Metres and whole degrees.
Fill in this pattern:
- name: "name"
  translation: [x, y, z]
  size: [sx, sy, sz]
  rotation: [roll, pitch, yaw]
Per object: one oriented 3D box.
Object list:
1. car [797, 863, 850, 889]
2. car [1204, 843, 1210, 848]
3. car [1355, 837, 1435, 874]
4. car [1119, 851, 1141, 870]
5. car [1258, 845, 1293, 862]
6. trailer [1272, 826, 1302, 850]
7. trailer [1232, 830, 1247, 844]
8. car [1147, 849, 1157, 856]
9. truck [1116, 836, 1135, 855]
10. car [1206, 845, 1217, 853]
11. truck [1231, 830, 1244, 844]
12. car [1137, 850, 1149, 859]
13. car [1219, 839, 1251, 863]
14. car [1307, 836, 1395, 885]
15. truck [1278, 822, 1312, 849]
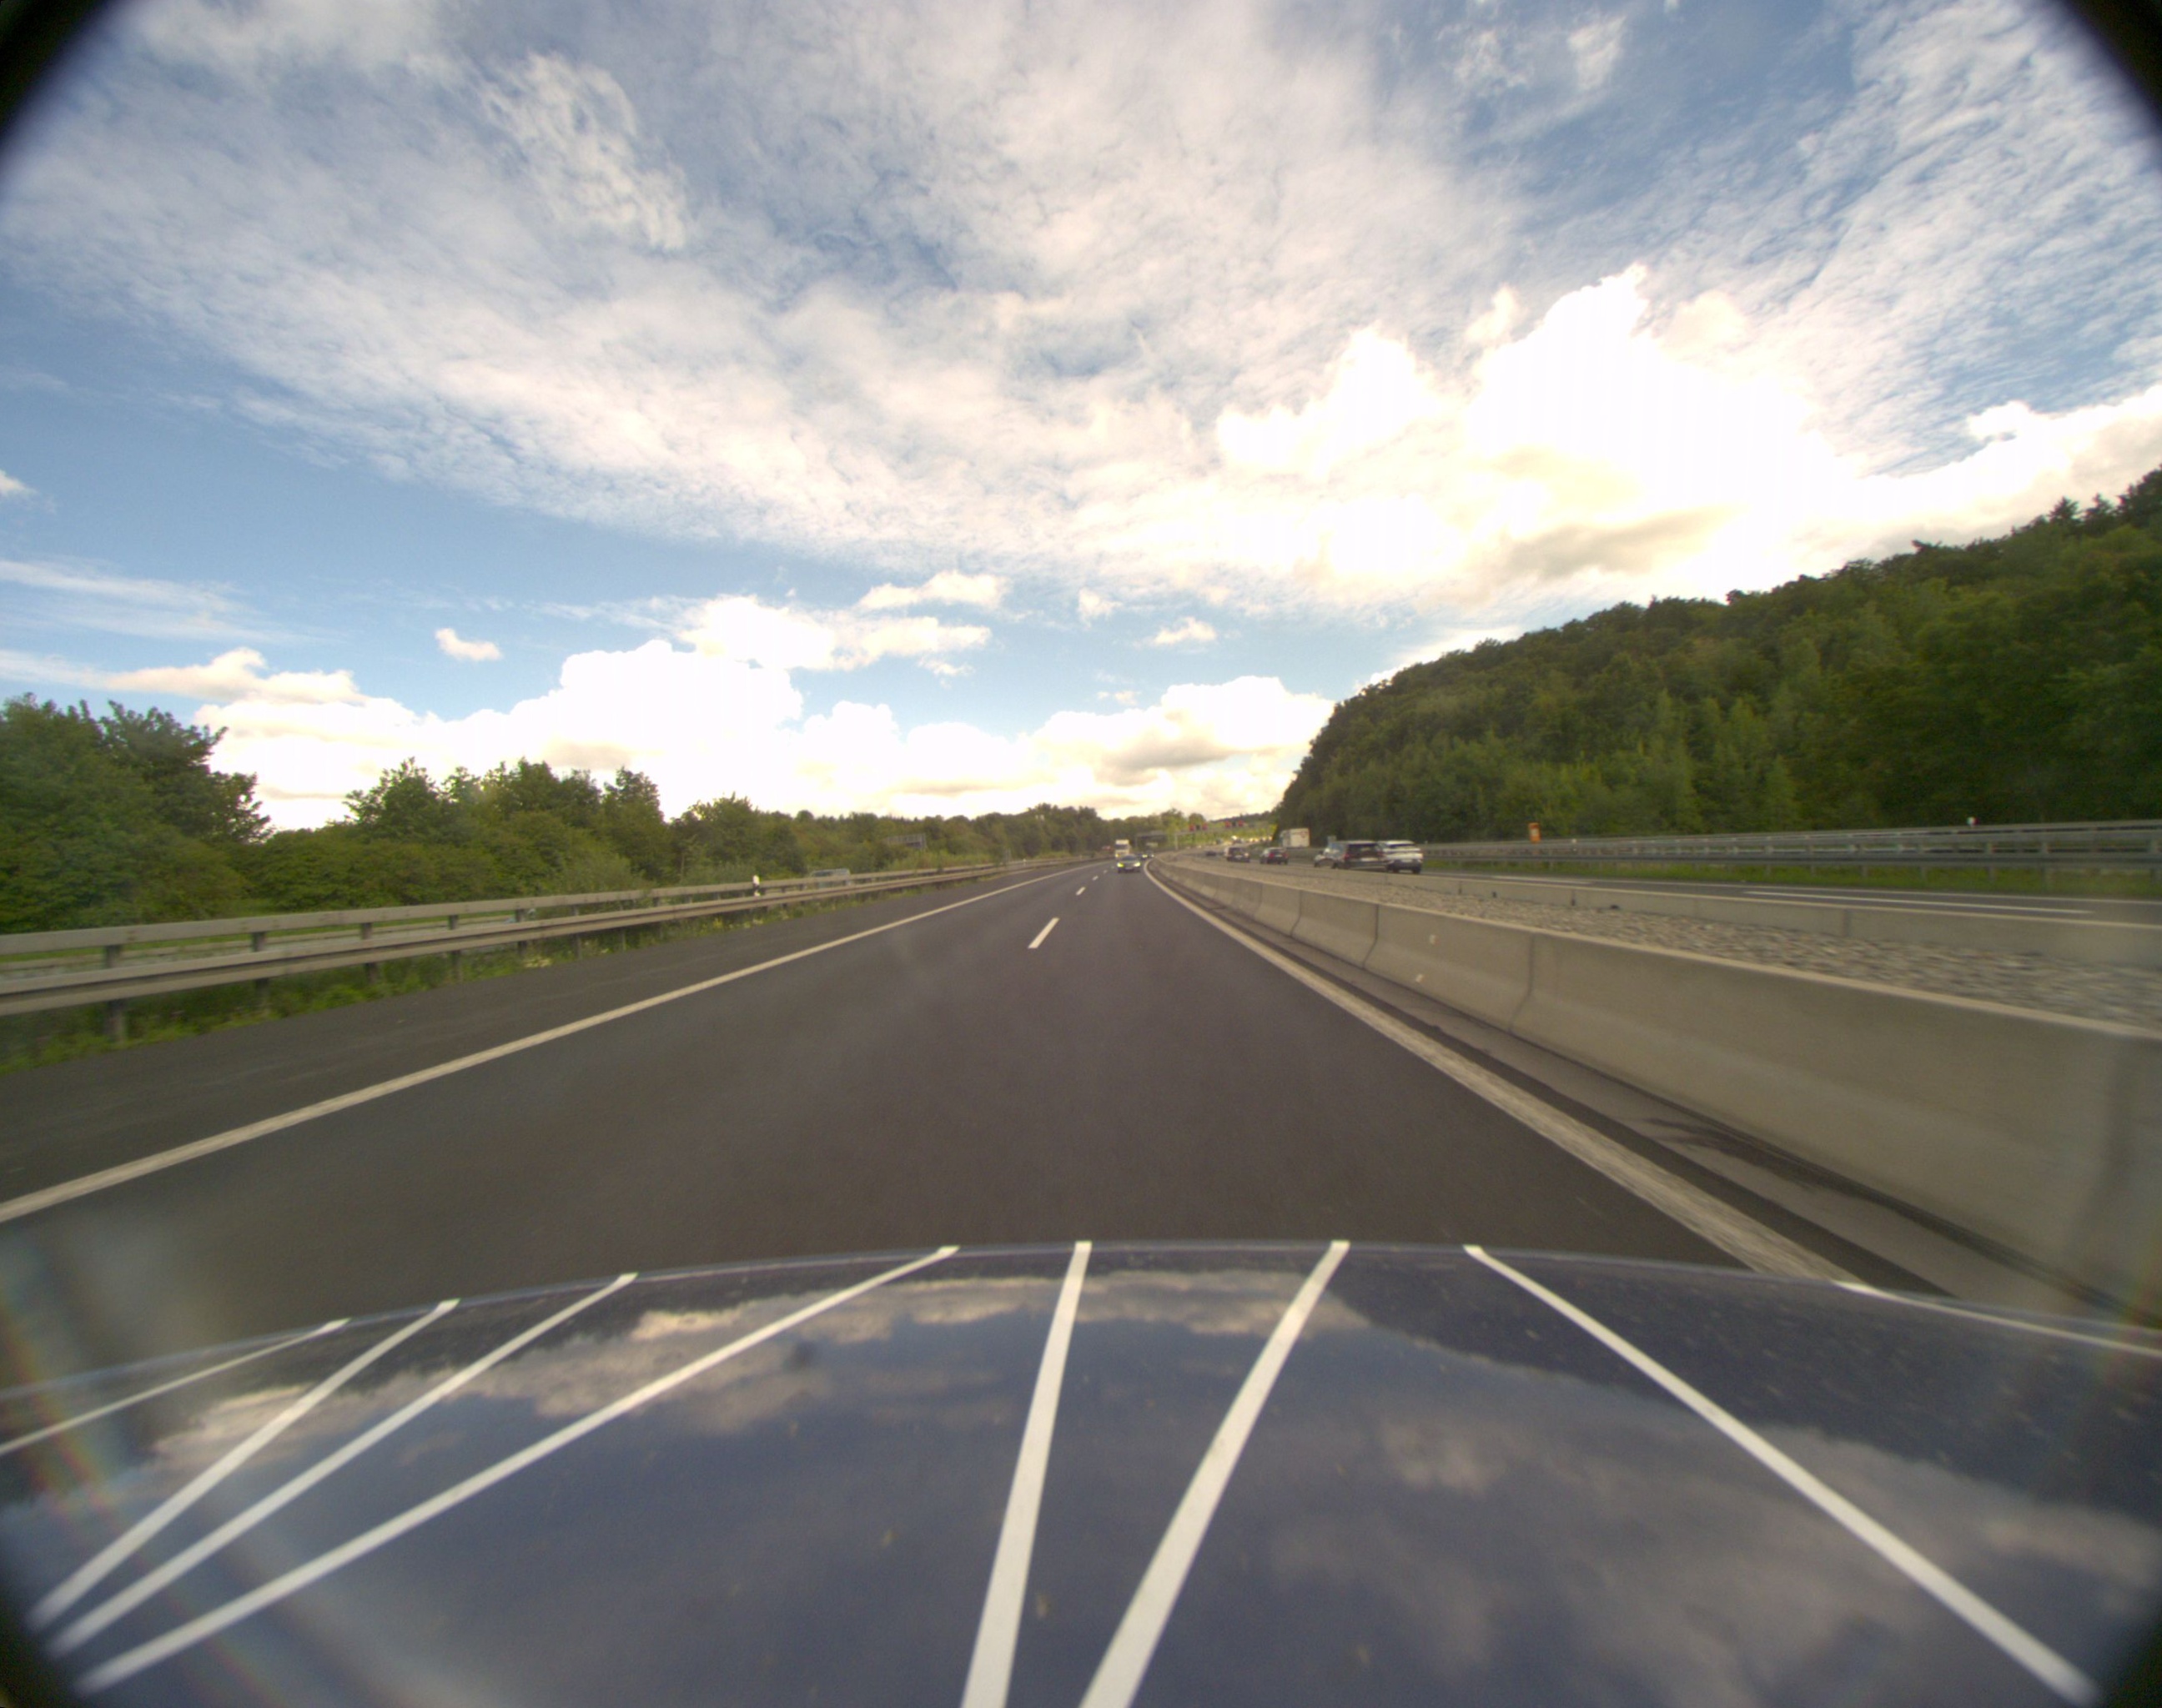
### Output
- name: "car"
  translation: [-17.189, 1.435, 50.851]
  size: [1.788, 1.562, 4.345]
  rotation: [-3, 0, 3]
- name: "car"
  translation: [42.222, -2.828, 254.110]
  size: [1.716, 1.519, 4.767]
  rotation: [-2, 2, 6]
- name: "car"
  translation: [15.338, 0.049, 37.439]
  size: [1.890, 1.600, 4.966]
  rotation: [-2, 0, 1]
- name: "car"
  translation: [4.143, 0.520, 63.579]
  size: [1.662, 1.464, 4.001]
  rotation: [-3, 1, 6]
- name: "car"
  translation: [17.237, -0.072, 67.567]
  size: [1.998, 1.394, 4.813]
  rotation: [-2, 0, 2]
- name: "trailer"
  translation: [39.714, -3.210, 146.894]
  size: [3.328, 4.268, 12.141]
  rotation: [-2, 2, 5]
- name: "trailer"
  translation: [43.448, -4.640, 208.677]
  size: [2.819, 3.785, 12.192]
  rotation: [-3, 1, 6]
- name: "car"
  translation: [15.689, -0.322, 167.853]
  size: [1.998, 1.464, 4.001]
  rotation: [-3, 0, 6]
- name: "truck"
  translation: [9.022, -1.815, 153.132]
  size: [2.795, 3.563, 11.461]
  rotation: [-2, 2, 7]
- name: "car"
  translation: [26.807, -0.964, 156.428]
  size: [1.878, 1.439, 5.122]
  rotation: [-2, 2, 5]
- name: "truck"
  translation: [44.106, -4.693, 214.792]
  size: [2.815, 3.804, 7.132]
  rotation: [-3, 1, 7]
- name: "car"
  translation: [11.051, 0.015, 135.536]
  size: [1.997, 1.464, 4.002]
  rotation: [-2, 0, 6]
- name: "car"
  translation: [11.964, -0.259, 59.265]
  size: [1.890, 1.693, 4.968]
  rotation: [-2, 0, 6]
- name: "car"
  translation: [10.918, 0.236, 31.150]
  size: [1.890, 1.774, 4.953]
  rotation: [-2, 0, 2]
- name: "truck"
  translation: [32.836, -2.867, 117.133]
  size: [2.908, 3.946, 10.464]
  rotation: [-2, 2, 4]
